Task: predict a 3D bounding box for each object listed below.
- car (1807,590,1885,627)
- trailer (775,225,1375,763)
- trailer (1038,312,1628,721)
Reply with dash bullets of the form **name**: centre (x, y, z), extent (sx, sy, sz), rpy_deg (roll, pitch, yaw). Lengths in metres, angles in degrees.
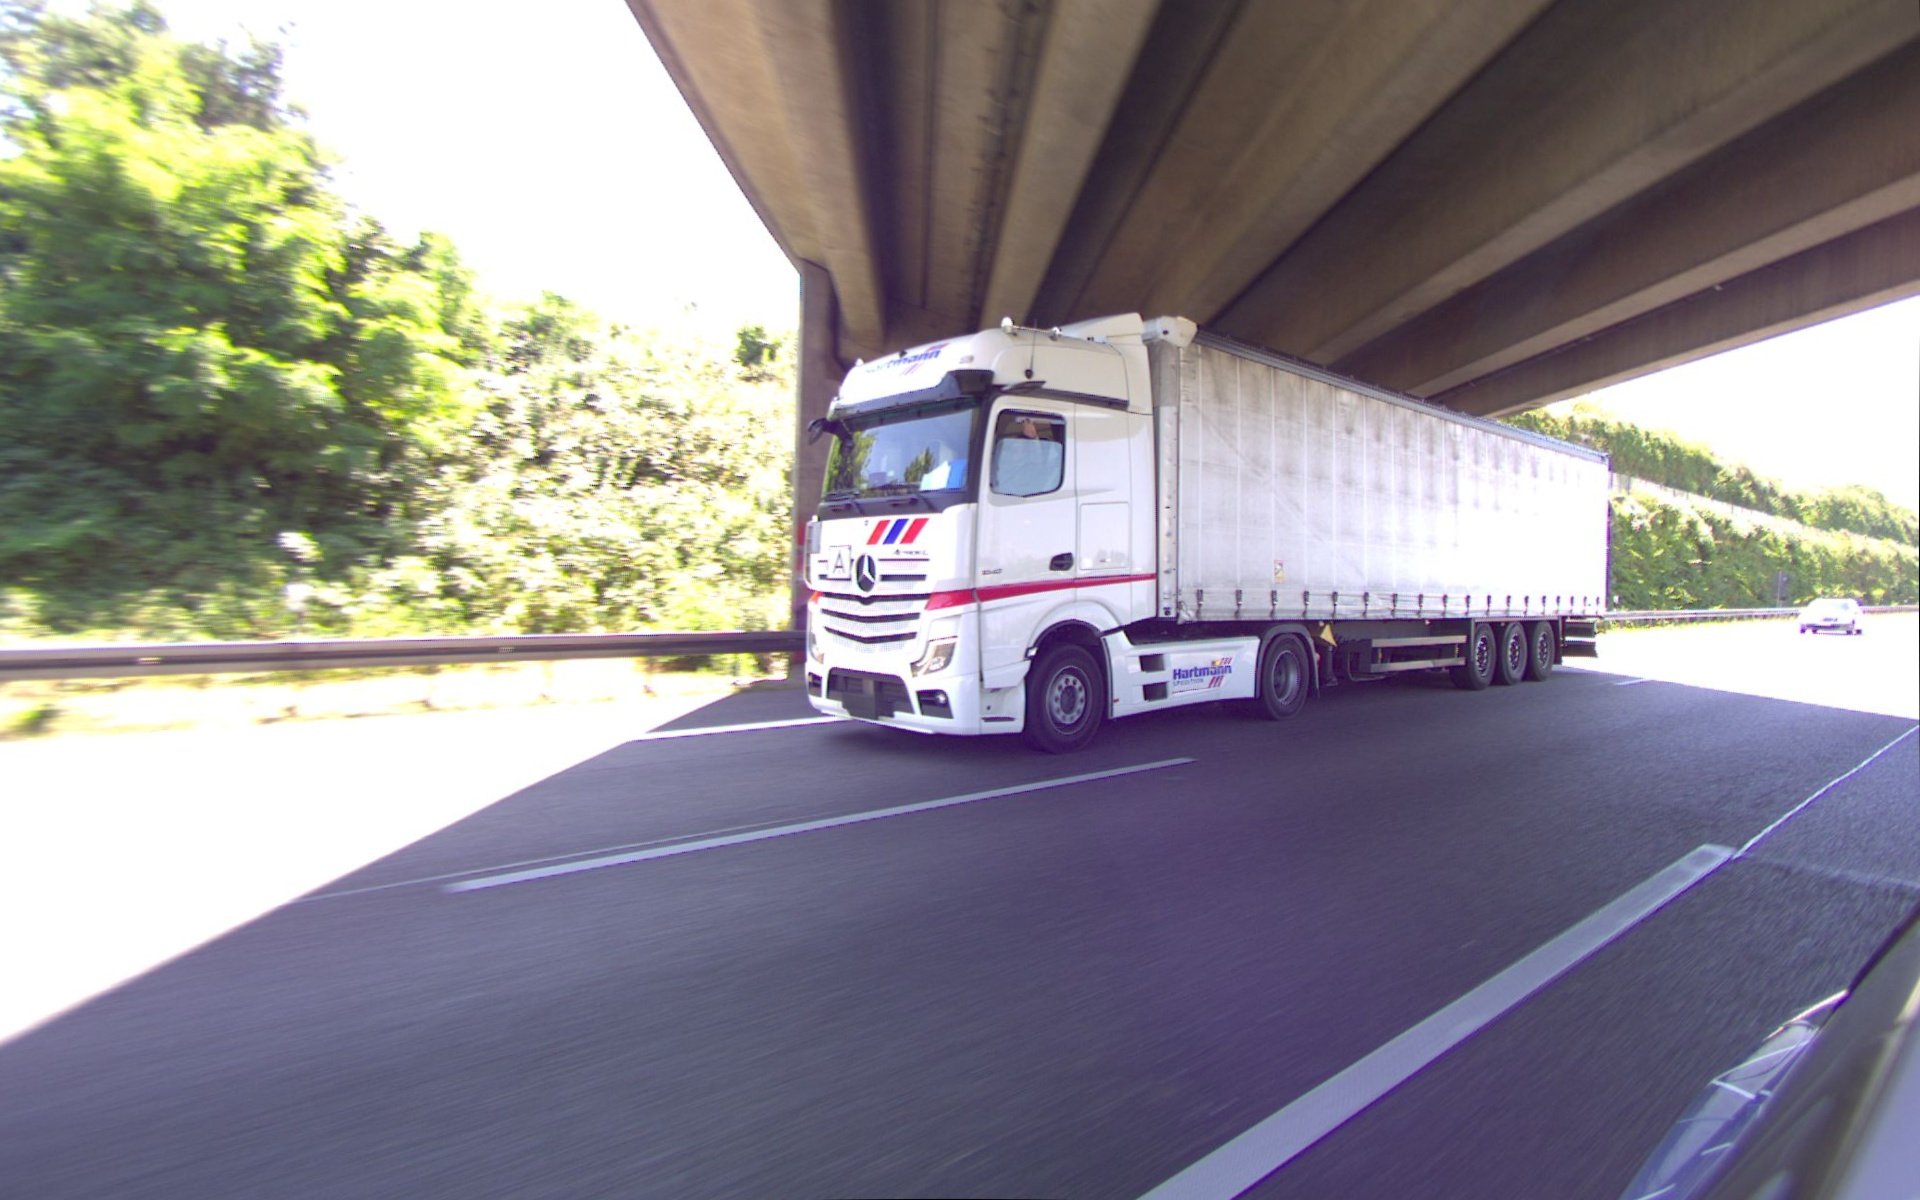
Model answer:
- **car**: centre (36.177, 0.318, 41.286), extent (4.480, 1.429, 1.838), rpy_deg (0, 1, -42)
- **trailer**: centre (1.603, -0.869, 11.060), extent (6.671, 4.153, 2.718), rpy_deg (0, 2, -42)
- **trailer**: centre (6.718, -0.912, 15.649), extent (12.961, 4.153, 2.733), rpy_deg (0, 2, -42)
